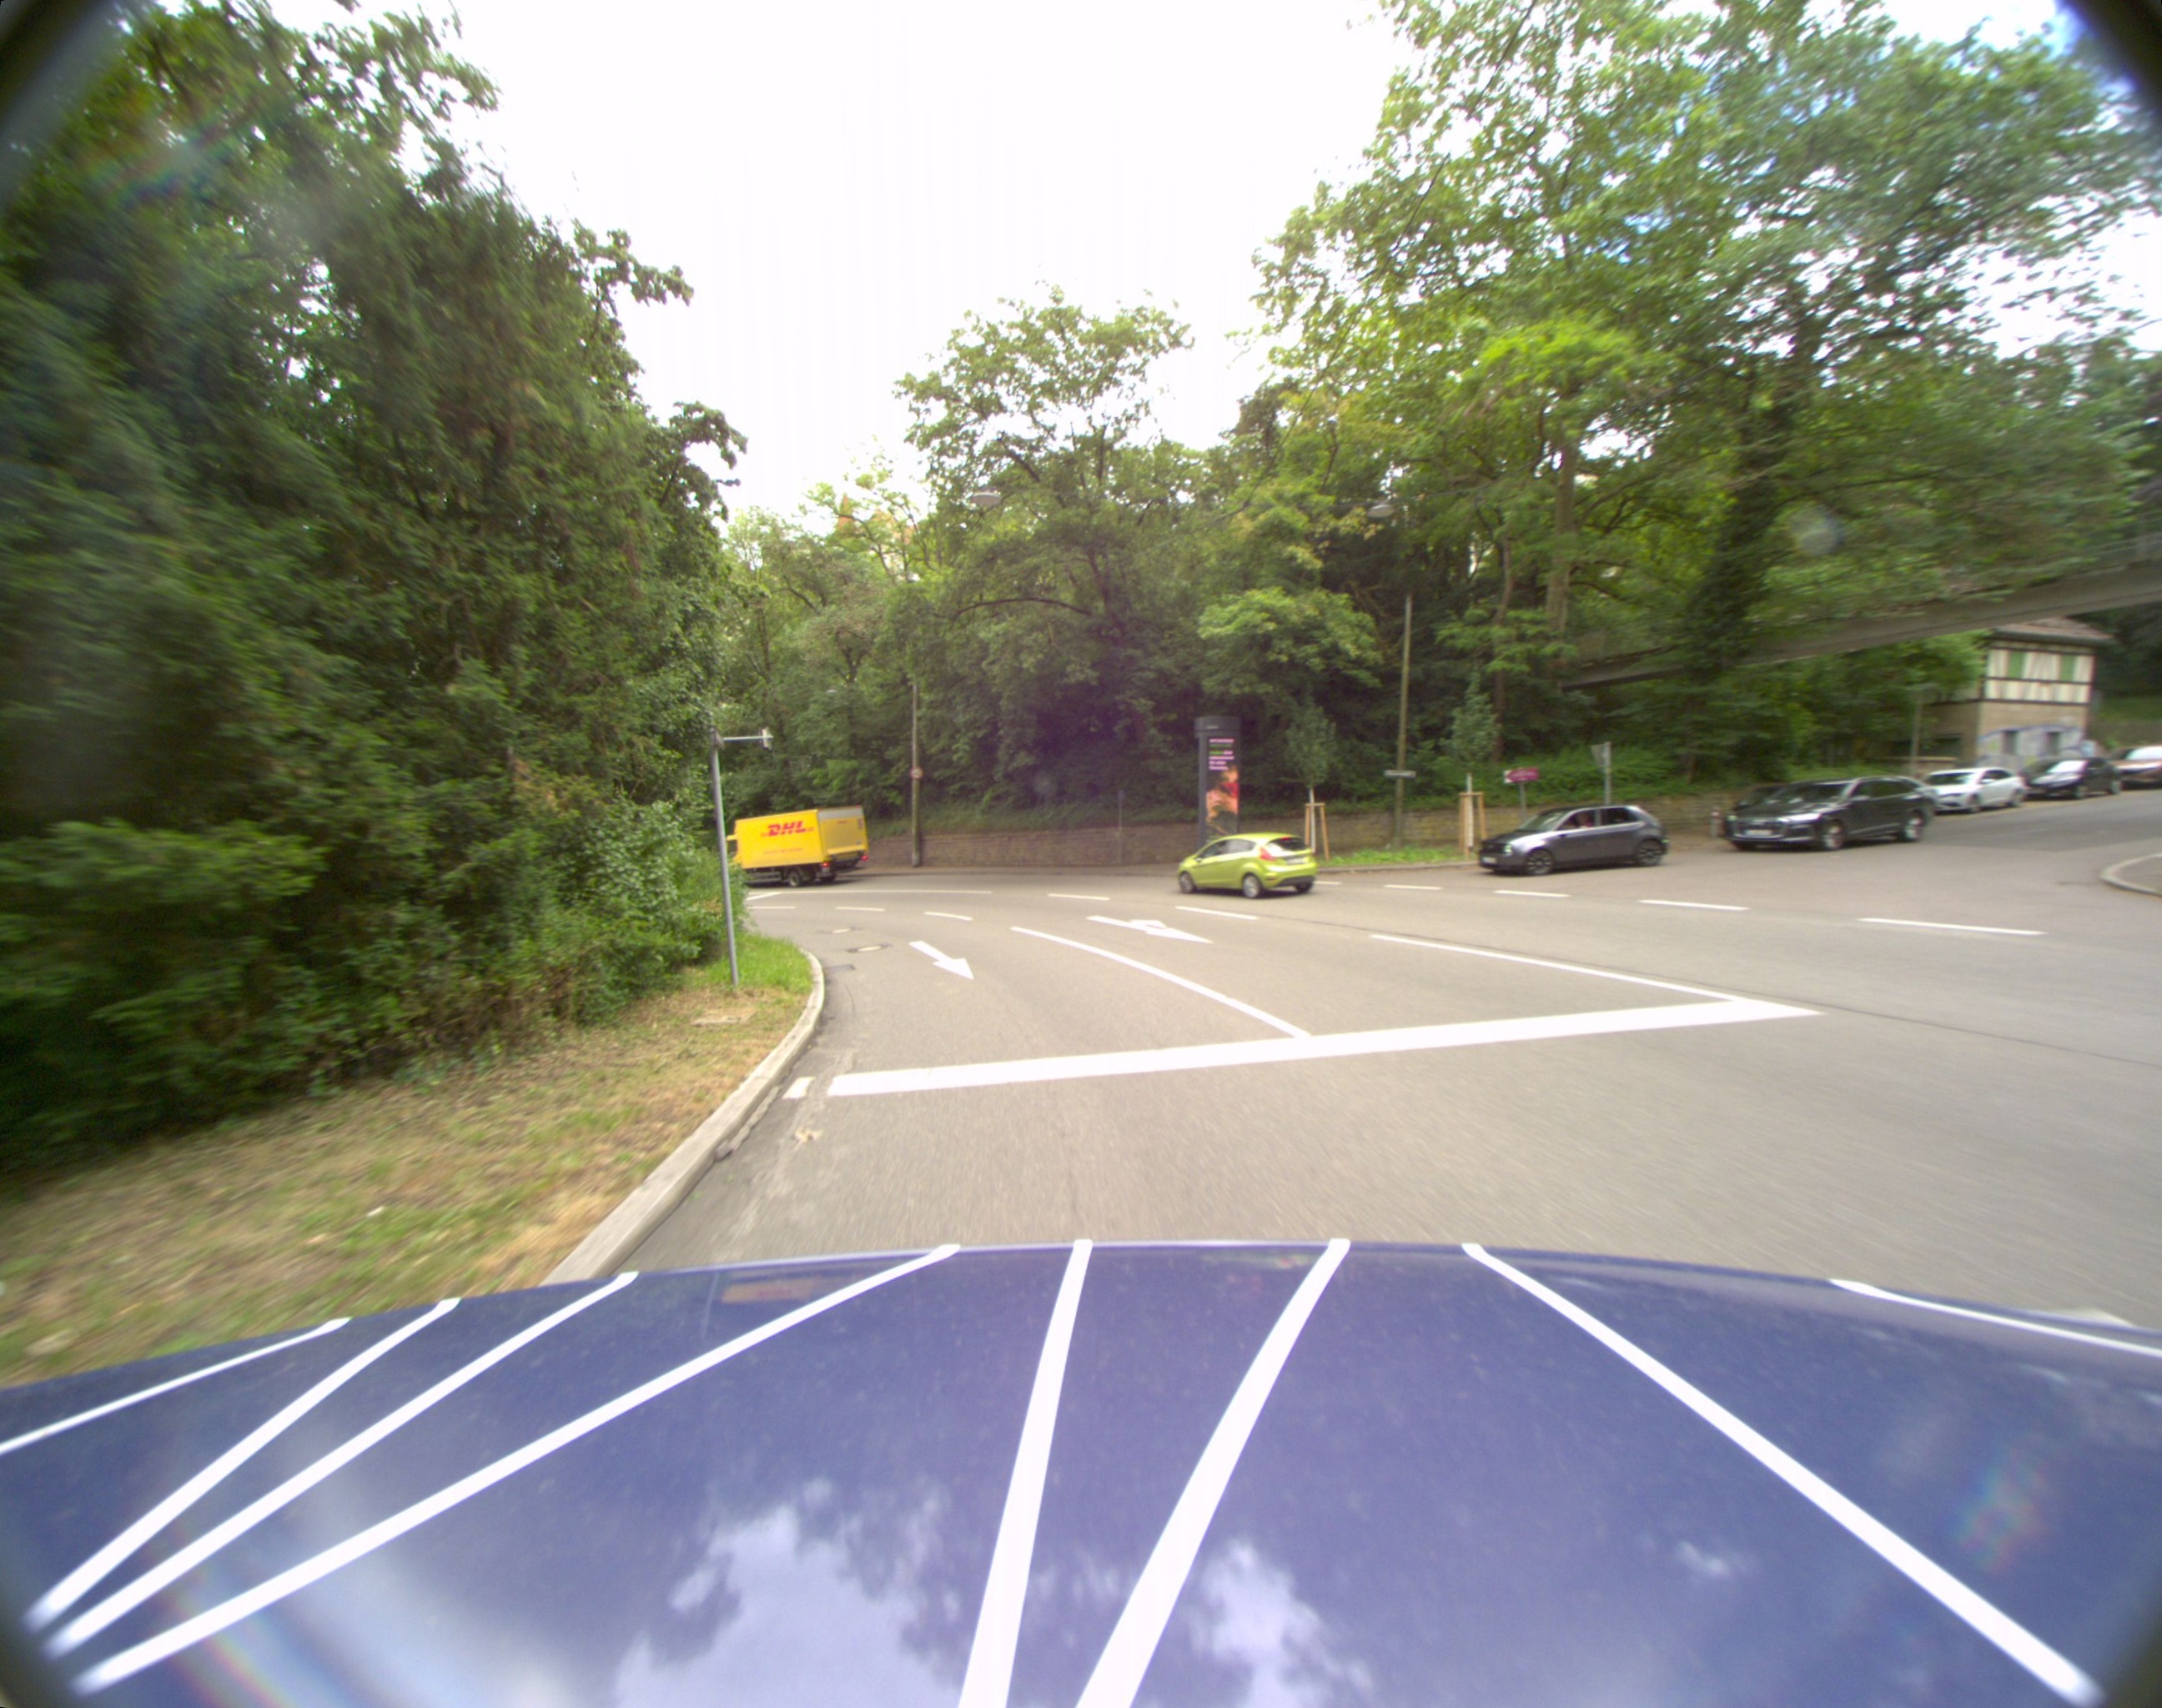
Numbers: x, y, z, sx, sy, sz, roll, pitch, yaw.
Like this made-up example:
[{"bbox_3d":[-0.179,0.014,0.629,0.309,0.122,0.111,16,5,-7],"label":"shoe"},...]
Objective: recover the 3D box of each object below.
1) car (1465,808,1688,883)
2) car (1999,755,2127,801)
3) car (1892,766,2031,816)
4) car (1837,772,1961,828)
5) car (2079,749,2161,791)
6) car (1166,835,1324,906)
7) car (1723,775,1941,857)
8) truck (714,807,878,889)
[{"bbox_3d":[11.450,-0.232,17.744,3.997,1.351,1.753,-5,3,0],"label":"car"},{"bbox_3d":[35.324,-2.729,27.345,3.914,1.323,1.599,-6,6,-19],"label":"car"},{"bbox_3d":[29.636,-2.128,25.593,4.026,1.323,1.625,-6,6,-19],"label":"car"},{"bbox_3d":[25.883,-1.715,24.052,3.267,1.440,1.502,-7,6,-20],"label":"car"},{"bbox_3d":[40.094,-3.221,28.751,3.914,1.323,1.599,-6,6,-19],"label":"car"},{"bbox_3d":[3.824,0.340,18.395,1.561,1.415,3.890,-5,3,-27],"label":"car"},{"bbox_3d":[18.656,-0.967,18.908,4.545,1.675,1.805,-4,3,-15],"label":"car"},{"bbox_3d":[-13.226,-0.225,35.012,7.563,3.282,2.762,-3,3,32],"label":"truck"}]
